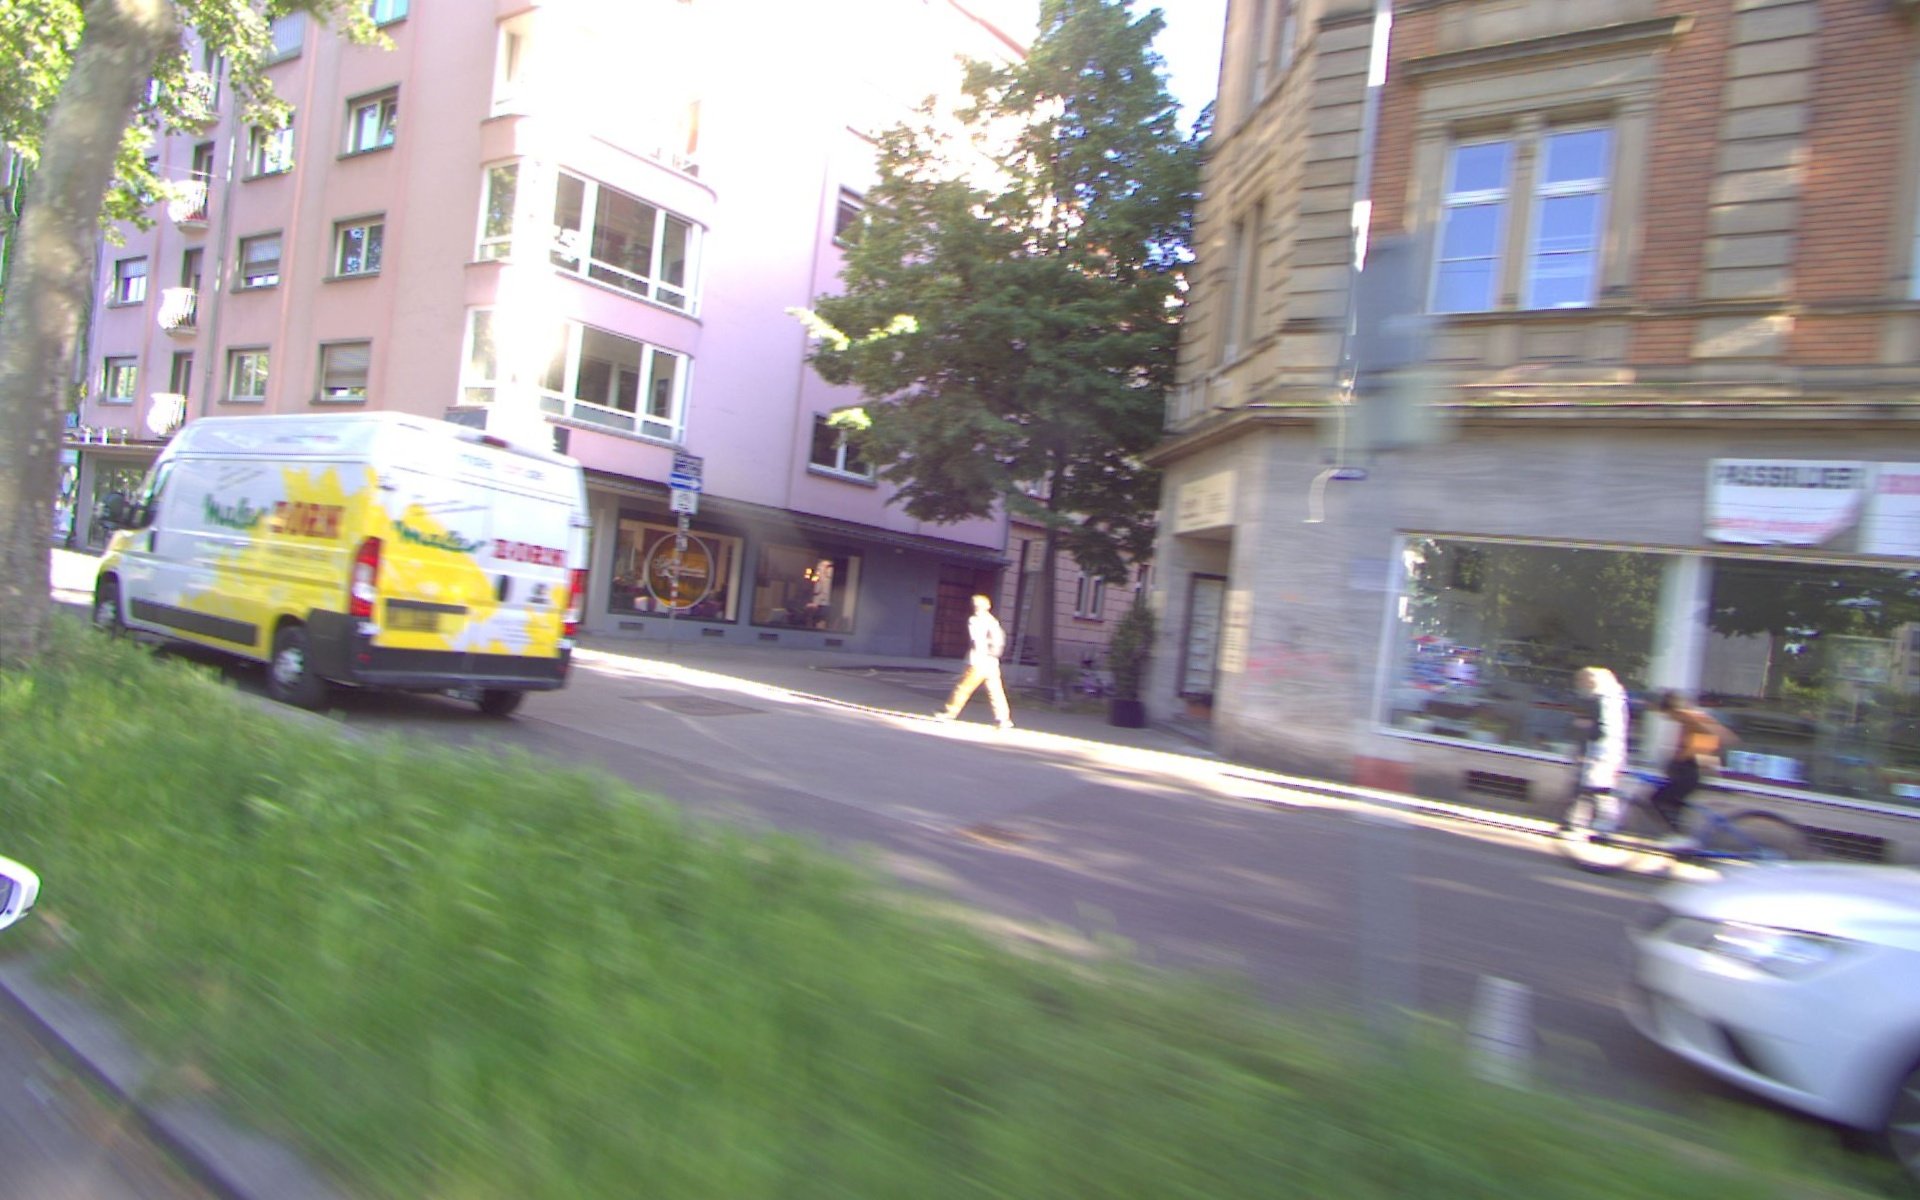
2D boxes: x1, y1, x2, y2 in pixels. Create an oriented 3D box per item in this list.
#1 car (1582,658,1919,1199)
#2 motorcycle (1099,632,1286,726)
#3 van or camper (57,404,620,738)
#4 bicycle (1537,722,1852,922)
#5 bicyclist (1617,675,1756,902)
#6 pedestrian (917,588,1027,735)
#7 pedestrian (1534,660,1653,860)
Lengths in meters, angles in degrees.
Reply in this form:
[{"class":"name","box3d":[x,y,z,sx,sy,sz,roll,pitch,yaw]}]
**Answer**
[{"class":"car","box3d":[4.499,1.298,3.154,4.114,1.589,1.758,7,-3,30]},{"class":"motorcycle","box3d":[5.025,1.704,21.915,3.673,1.535,1.112,7,1,-6]},{"class":"van or camper","box3d":[-6.452,-0.384,10.099,6.167,2.508,2.188,7,-2,34]},{"class":"bicycle","box3d":[5.768,1.702,8.062,1.868,1.140,0.670,7,0,32]},{"class":"bicyclist","box3d":[5.782,1.460,8.055,0.687,1.635,0.659,7,1,31]},{"class":"pedestrian","box3d":[0.163,0.800,13.349,1.062,1.777,0.692,7,1,32]},{"class":"pedestrian","box3d":[5.926,1.462,9.446,0.740,1.705,0.692,7,1,31]}]
